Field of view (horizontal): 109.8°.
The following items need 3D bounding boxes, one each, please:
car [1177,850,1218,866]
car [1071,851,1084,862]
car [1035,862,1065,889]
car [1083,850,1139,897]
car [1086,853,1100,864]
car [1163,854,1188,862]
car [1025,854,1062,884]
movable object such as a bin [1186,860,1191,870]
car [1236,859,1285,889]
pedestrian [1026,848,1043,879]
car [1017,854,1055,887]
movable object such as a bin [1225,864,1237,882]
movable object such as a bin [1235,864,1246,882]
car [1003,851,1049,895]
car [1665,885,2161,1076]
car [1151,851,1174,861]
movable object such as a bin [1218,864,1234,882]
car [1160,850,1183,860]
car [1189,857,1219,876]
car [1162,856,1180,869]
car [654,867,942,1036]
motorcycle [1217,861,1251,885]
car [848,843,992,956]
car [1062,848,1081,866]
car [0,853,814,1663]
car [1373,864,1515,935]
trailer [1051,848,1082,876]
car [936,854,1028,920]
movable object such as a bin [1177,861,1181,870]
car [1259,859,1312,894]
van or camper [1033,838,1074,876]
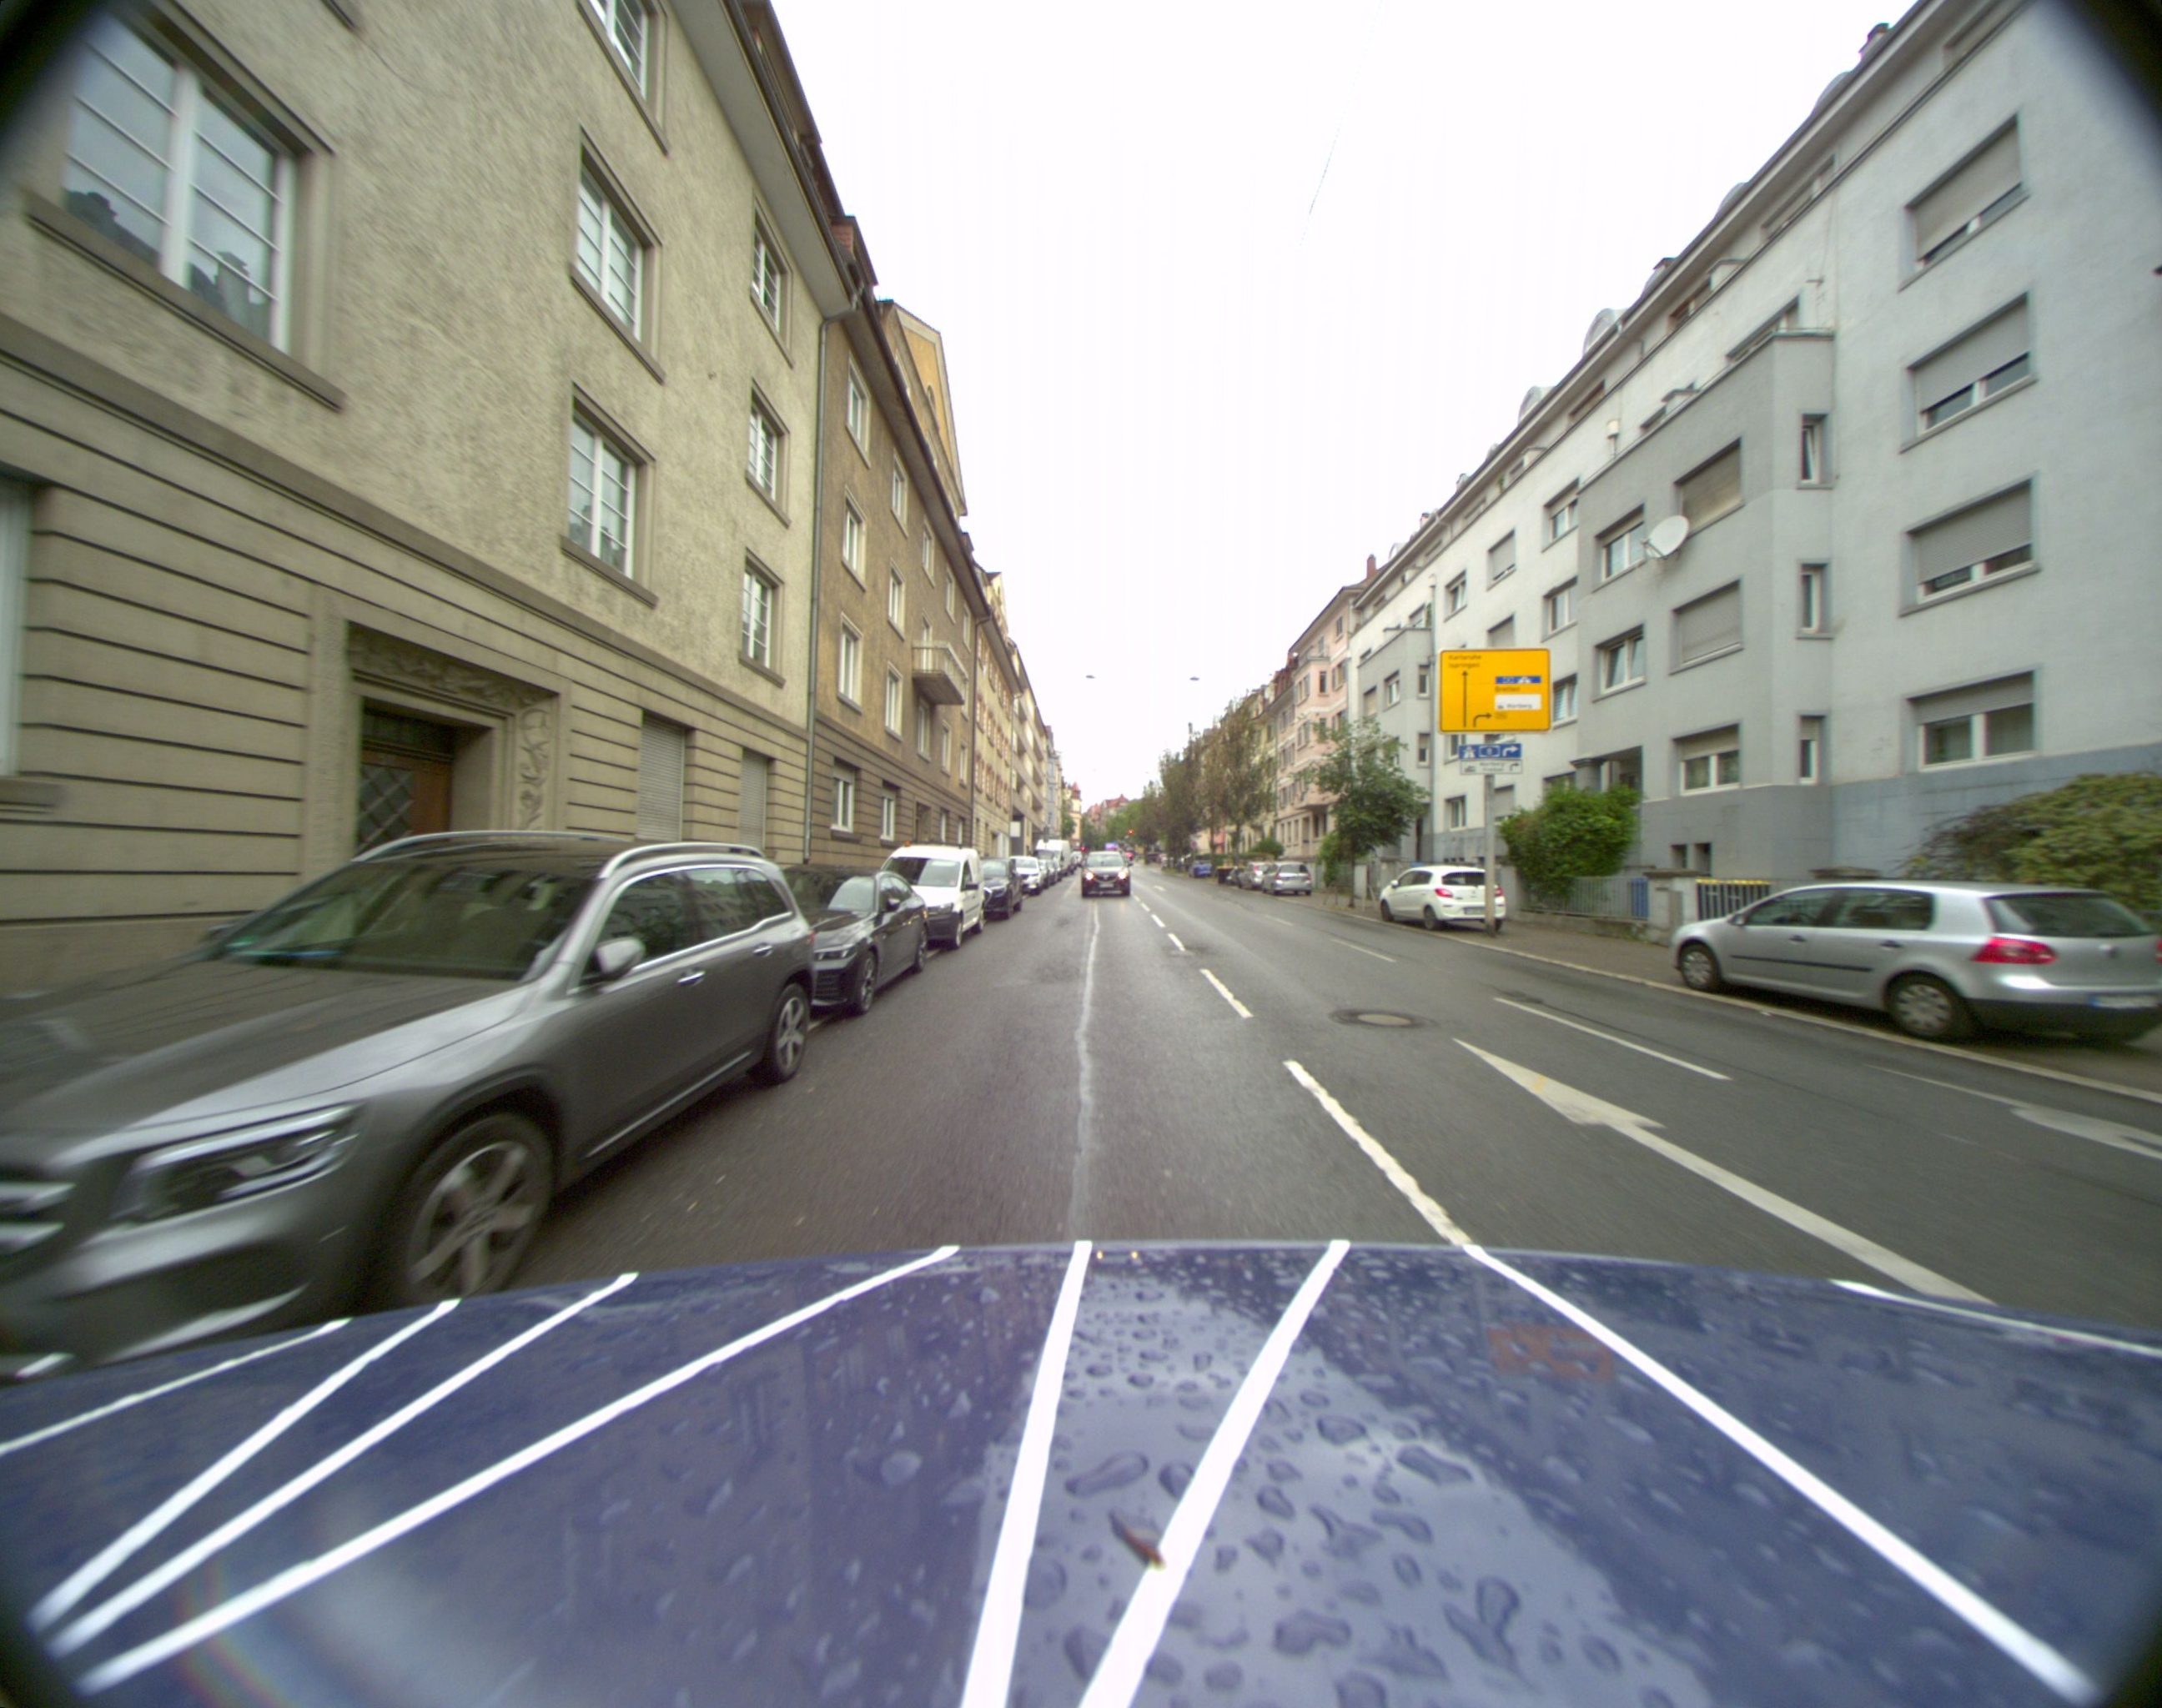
[{"bbox_3d":[14.508,0.429,94.733,4.731,1.894,1.918,-1,1,-1],"label":"car"},{"bbox_3d":[-0.545,0.296,107.654,1.709,1.434,3.933,1,1,1],"label":"car"},{"bbox_3d":[-1.951,1.329,48.417,1.782,1.471,4.188,1,1,-2],"label":"car"},{"bbox_3d":[1.067,0.692,28.969,1.889,1.543,3.999,-3,1,-1],"label":"car"},{"bbox_3d":[1.729,0.655,107.642,1.670,1.464,3.651,-1,1,-3],"label":"car"},{"bbox_3d":[15.541,0.689,125.594,3.928,1.289,1.646,1,1,2],"label":"car"},{"bbox_3d":[-2.080,0.811,42.886,1.782,1.471,4.587,1,1,1],"label":"car"},{"bbox_3d":[10.338,1.064,72.975,0.365,0.906,0.572,-1,2,0],"label":"movable object such as a bin"},{"bbox_3d":[9.231,1.000,39.320,1.605,1.388,3.886,0,1,0],"label":"car"},{"bbox_3d":[-2.779,0.579,45.683,0.688,1.777,0.711,1,2,-35],"label":"pedestrian"},{"bbox_3d":[-2.232,0.800,38.324,1.636,1.470,3.734,4,1,-1],"label":"car"},{"bbox_3d":[9.007,1.138,45.638,0.526,1.052,0.482,-3,2,-20],"label":"movable object such as a bin"},{"bbox_3d":[9.609,1.123,45.718,0.472,1.052,0.483,-3,2,-8],"label":"movable object such as a bin"},{"bbox_3d":[-2.288,0.761,32.723,1.636,1.629,4.194,3,1,-1],"label":"car"},{"bbox_3d":[8.557,1.112,8.134,1.687,1.382,3.909,-1,0,2],"label":"car"},{"bbox_3d":[14.797,0.338,138.509,3.929,1.836,1.867,1,1,-1],"label":"car"},{"bbox_3d":[8.962,1.148,46.961,0.827,1.052,0.483,-2,2,2],"label":"movable object such as a bin"},{"bbox_3d":[16.327,0.172,136.559,3.928,1.613,1.592,1,1,2],"label":"car"},{"bbox_3d":[9.701,0.954,60.345,1.683,1.377,4.603,0,0,1],"label":"car"},{"bbox_3d":[10.524,0.936,88.965,1.685,1.409,4.137,1,1,1],"label":"car"},{"bbox_3d":[-3.042,0.949,9.291,1.845,1.401,4.387,2,0,0],"label":"car"},{"bbox_3d":[8.832,1.084,43.974,1.806,1.307,0.743,1,1,42],"label":"motorcycle"},{"bbox_3d":[-2.909,0.748,14.613,1.795,1.807,4.080,2,0,1],"label":"car"},{"bbox_3d":[-1.082,0.299,87.825,1.994,1.944,4.822,1,1,1],"label":"car"},{"bbox_3d":[-2.970,0.849,3.680,1.845,1.611,4.207,2,1,0],"label":"car"},{"bbox_3d":[8.740,1.027,18.673,1.650,1.499,3.796,0,0,0],"label":"car"},{"bbox_3d":[-1.157,0.641,62.946,1.998,2.139,5.074,2,0,4],"label":"trailer"},{"bbox_3d":[-2.550,0.807,20.623,1.795,1.539,4.226,2,0,2],"label":"car"},{"bbox_3d":[9.419,1.108,73.061,0.365,0.884,0.572,-1,1,0],"label":"movable object such as a bin"},{"bbox_3d":[9.222,0.978,34.515,1.604,1.442,3.889,-1,0,5],"label":"car"},{"bbox_3d":[-1.967,0.204,56.417,2.189,2.684,6.422,1,0,5],"label":"van or camper"}]
